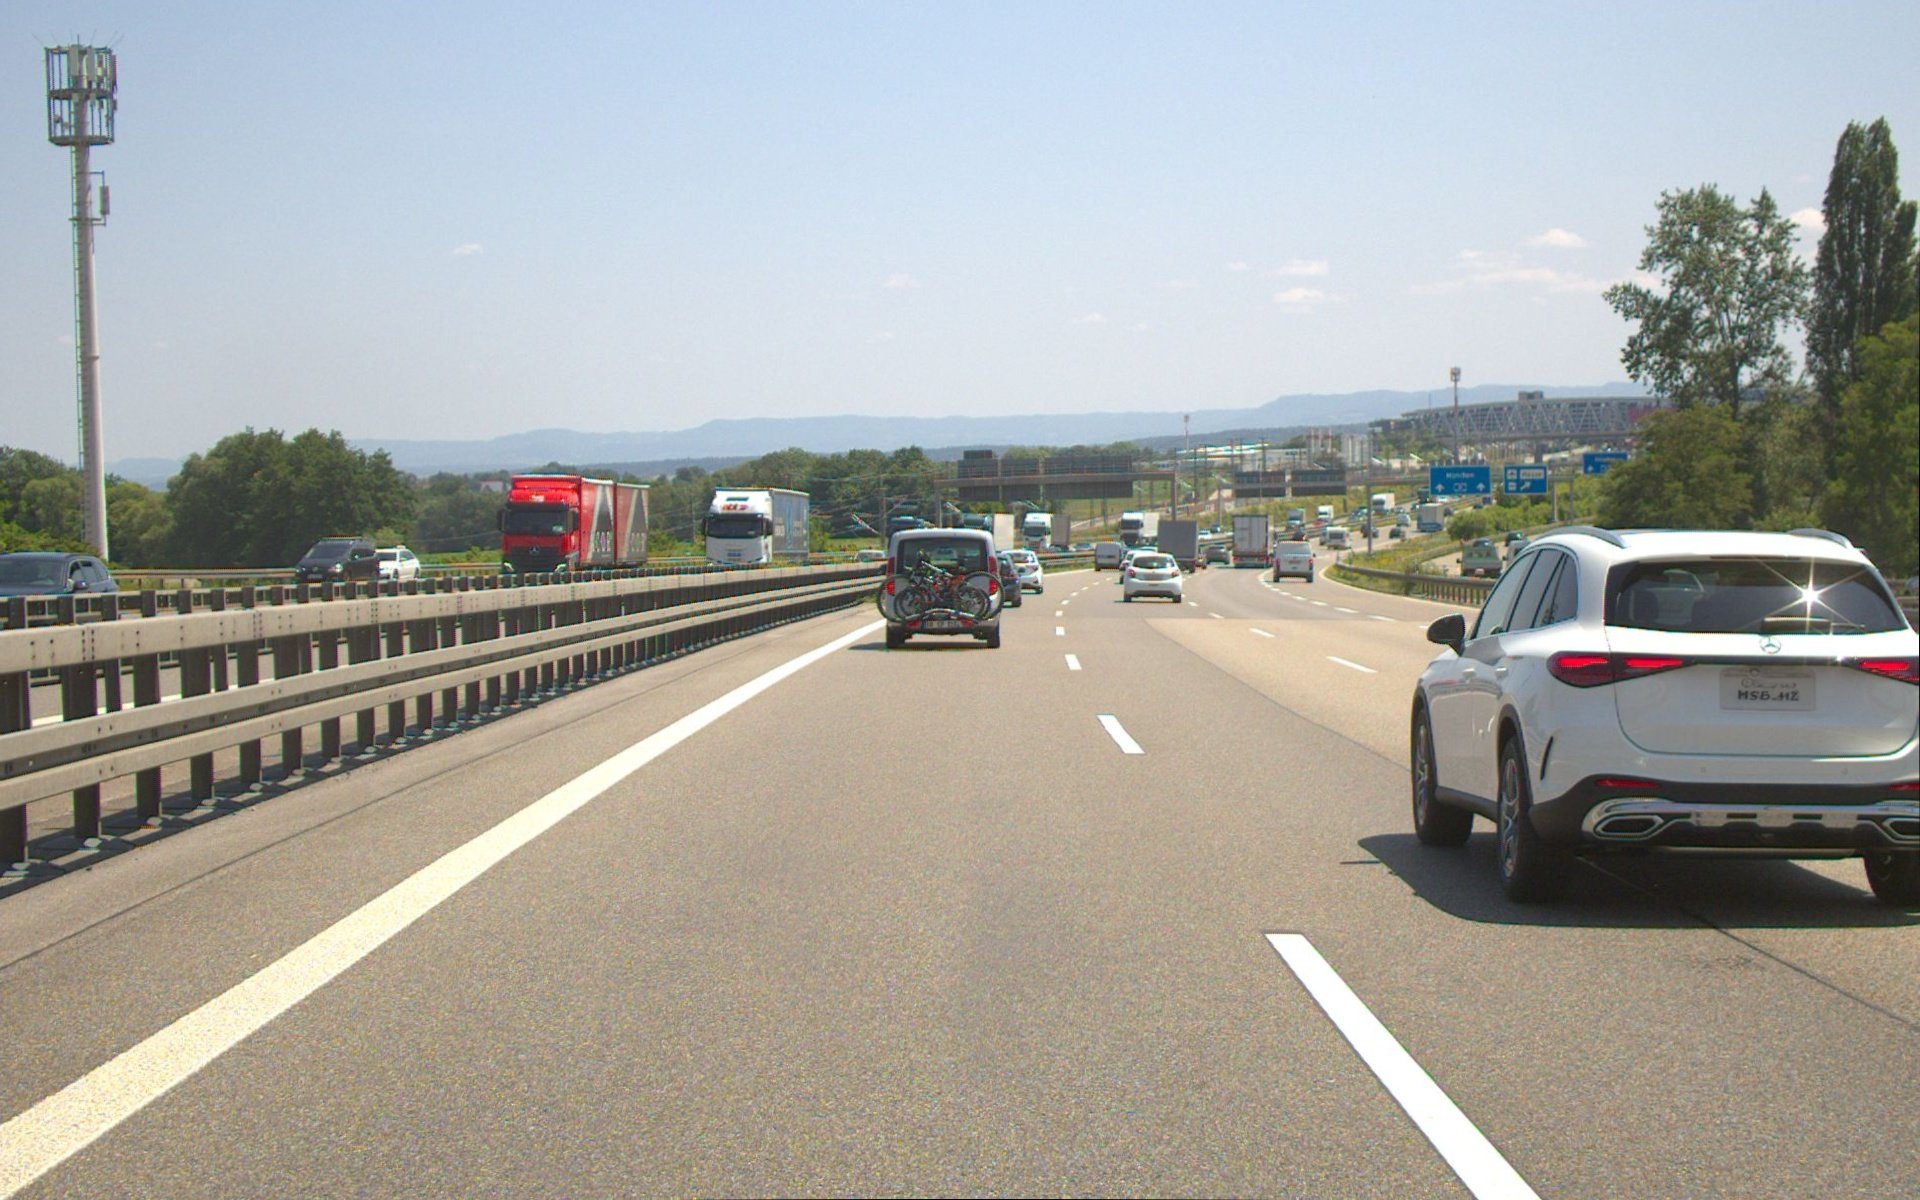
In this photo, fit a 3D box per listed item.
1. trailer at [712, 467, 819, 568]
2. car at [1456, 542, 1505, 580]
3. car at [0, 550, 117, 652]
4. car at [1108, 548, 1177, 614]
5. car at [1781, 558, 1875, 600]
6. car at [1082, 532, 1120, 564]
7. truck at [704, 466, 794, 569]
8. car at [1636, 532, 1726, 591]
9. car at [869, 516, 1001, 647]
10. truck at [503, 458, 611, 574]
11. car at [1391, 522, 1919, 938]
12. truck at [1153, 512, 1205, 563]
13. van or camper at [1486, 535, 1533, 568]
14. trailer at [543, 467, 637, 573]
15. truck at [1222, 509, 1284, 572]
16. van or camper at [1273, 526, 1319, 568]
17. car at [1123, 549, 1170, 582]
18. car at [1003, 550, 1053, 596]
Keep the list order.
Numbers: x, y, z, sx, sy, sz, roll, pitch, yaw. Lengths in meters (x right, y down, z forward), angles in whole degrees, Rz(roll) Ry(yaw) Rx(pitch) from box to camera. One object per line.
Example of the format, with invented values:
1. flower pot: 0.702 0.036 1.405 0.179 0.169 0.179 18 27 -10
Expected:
1. trailer: -8.646 -3.623 154.804 2.946 4.327 14.618 1 1 4
2. car: 27.980 -2.109 184.920 1.993 2.007 4.000 1 1 0
3. car: -14.071 -0.017 51.711 1.658 1.459 4.445 1 1 0
4. car: 5.438 -0.581 102.818 1.927 1.912 4.517 1 1 2
5. car: 26.675 -0.659 105.795 1.699 1.273 4.000 1 1 -3
6. car: 9.024 -3.312 219.776 2.186 1.996 3.999 1 1 5
7. truck: -9.057 -3.514 148.388 2.928 4.330 6.915 1 1 4
8. car: 24.073 -1.303 114.951 1.939 1.917 4.180 1 1 -3
9. car: -0.359 -0.299 53.307 1.926 1.912 4.948 1 1 0
10. truck: -14.883 -3.078 127.613 2.582 4.101 10.348 1 1 1
11. car: 3.289 0.493 16.224 1.898 1.641 4.999 1 1 0
12. truck: 13.766 -3.887 215.800 2.703 3.098 10.656 1 1 7
13. van or camper: 33.850 -2.983 211.966 2.529 2.007 4.460 1 1 5
14. trailer: -14.689 -3.139 137.149 2.559 4.091 8.715 1 1 1
15. truck: 22.101 -4.542 258.491 4.040 4.247 11.755 1 3 8
16. van or camper: 16.376 -2.584 167.581 2.156 2.007 4.303 1 1 5
17. car: 8.371 -1.545 153.924 1.982 1.468 3.999 0 1 5
18. car: 2.352 -0.941 118.802 1.576 1.547 3.964 1 1 3
